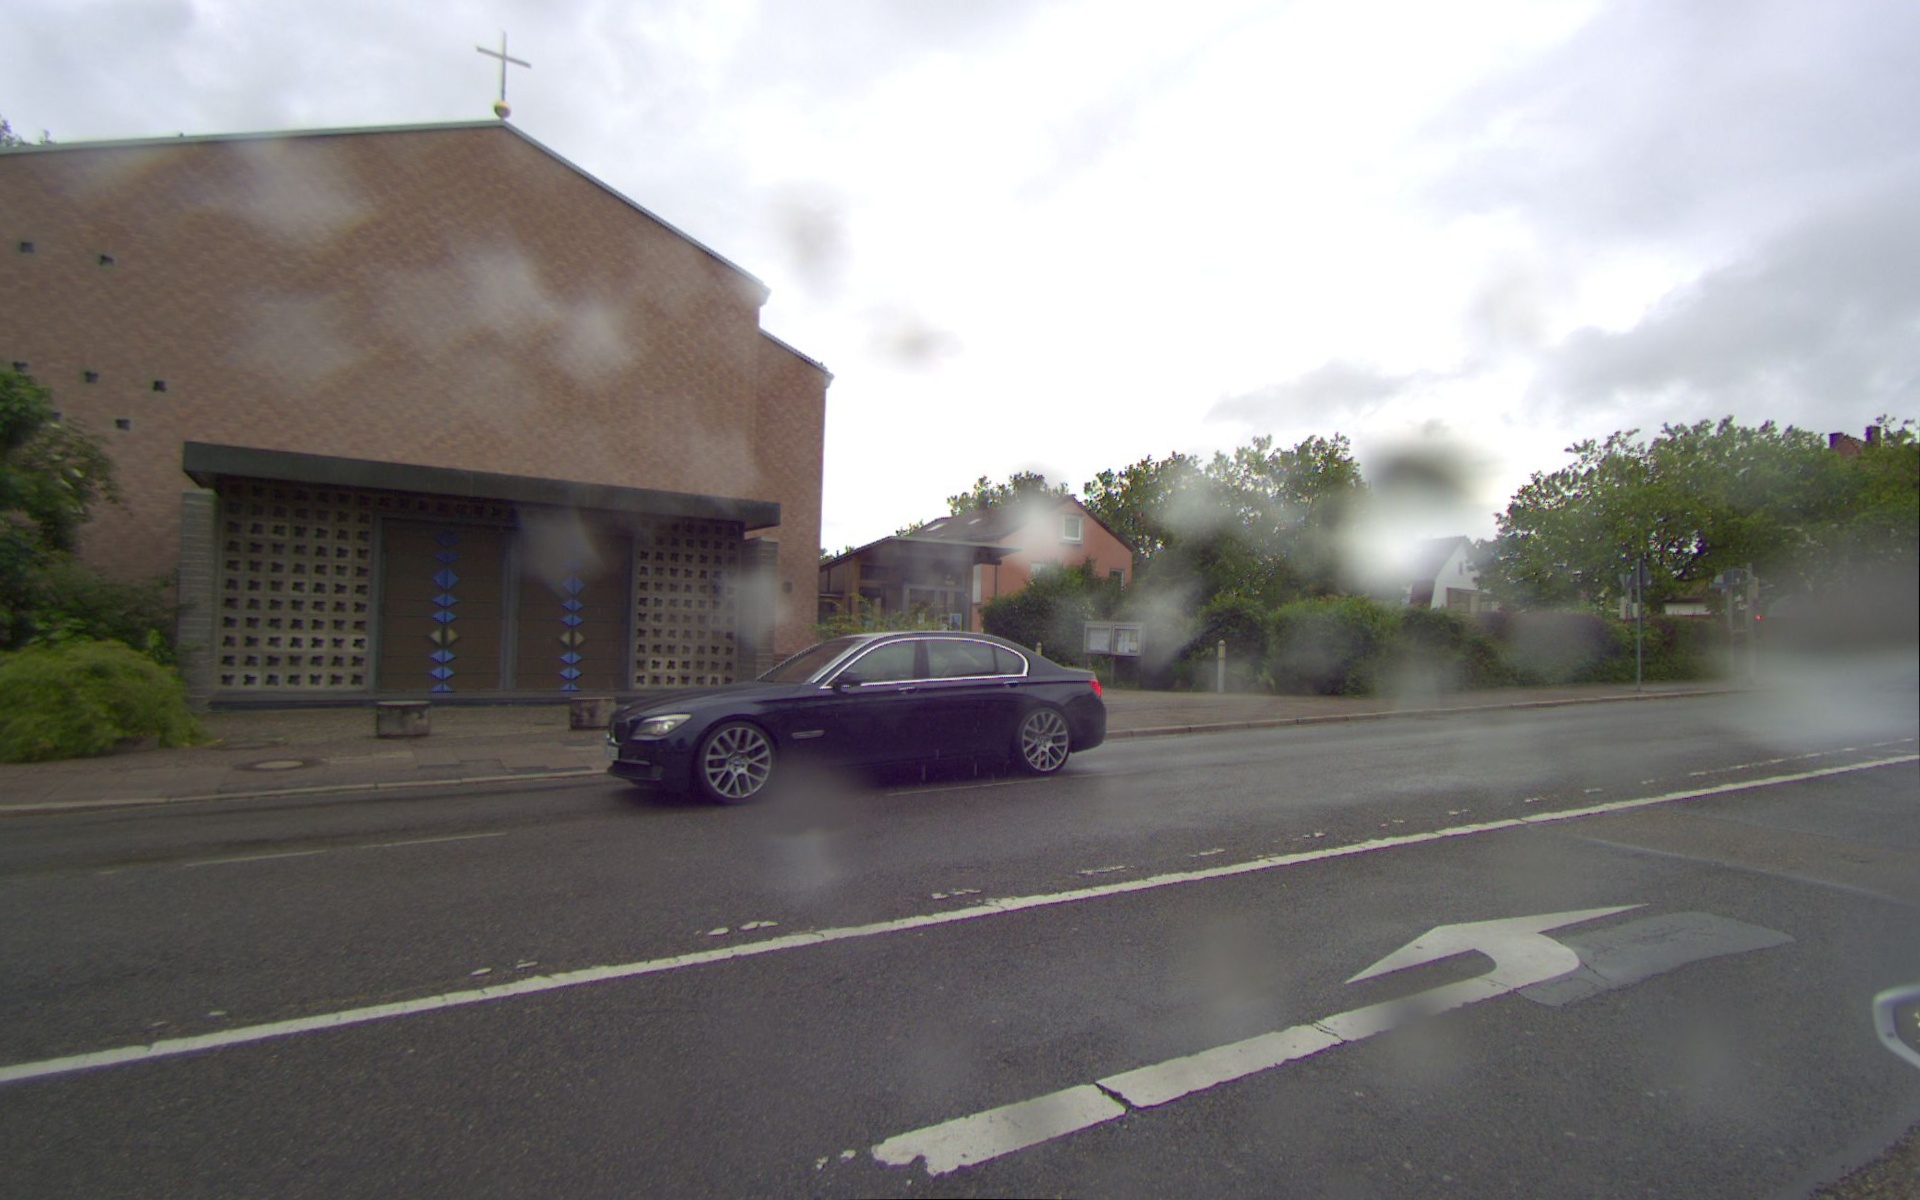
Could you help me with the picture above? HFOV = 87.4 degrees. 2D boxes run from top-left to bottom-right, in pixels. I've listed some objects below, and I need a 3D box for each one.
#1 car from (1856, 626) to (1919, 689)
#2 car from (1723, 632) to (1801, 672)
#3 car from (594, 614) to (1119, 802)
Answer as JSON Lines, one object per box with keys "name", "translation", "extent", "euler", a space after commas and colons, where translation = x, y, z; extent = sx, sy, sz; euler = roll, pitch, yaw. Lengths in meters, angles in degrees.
{"name": "car", "translation": [25.994, 1.507, 26.935], "extent": [4.271, 1.611, 1.897], "euler": [1, -2, -33]}
{"name": "car", "translation": [39.196, 2.518, 49.079], "extent": [3.955, 1.573, 1.798], "euler": [-3, 2, -32]}
{"name": "car", "translation": [-0.910, 0.993, 10.024], "extent": [4.894, 1.472, 1.901], "euler": [2, -6, -32]}
